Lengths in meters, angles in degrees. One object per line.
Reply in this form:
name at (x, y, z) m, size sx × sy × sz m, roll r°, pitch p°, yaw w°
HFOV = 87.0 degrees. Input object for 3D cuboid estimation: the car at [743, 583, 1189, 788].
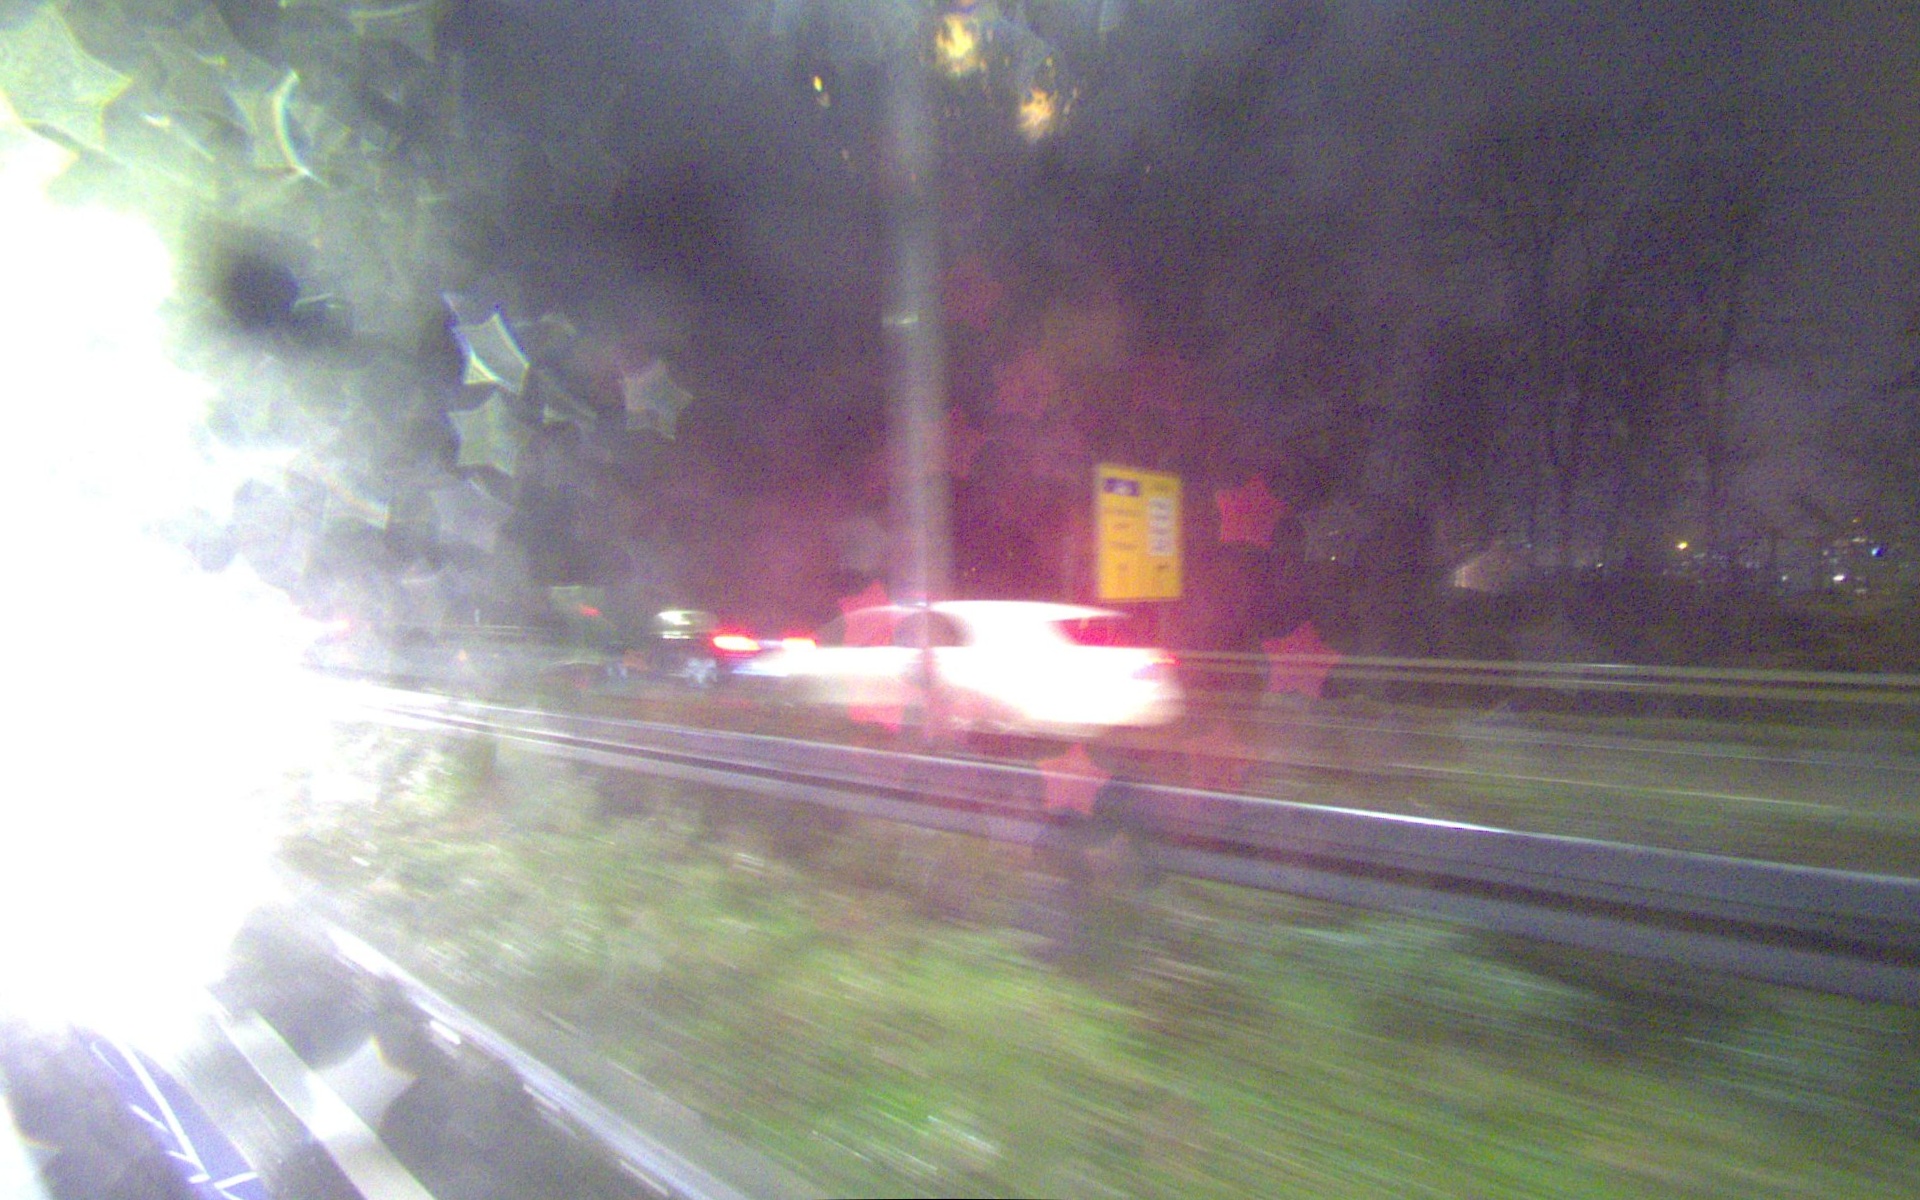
car at (-0.079, 0.673, 10.061) m, size 4.244 × 1.620 × 1.851 m, roll 0°, pitch 0°, yaw 39°

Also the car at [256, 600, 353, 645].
car at (-24.331, 0.780, 37.515) m, size 4.841 × 1.519 × 1.971 m, roll 0°, pitch 0°, yaw 44°

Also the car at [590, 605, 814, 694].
car at (-4.888, 0.833, 18.796) m, size 4.665 × 1.434 × 1.694 m, roll 0°, pitch -1°, yaw 41°
